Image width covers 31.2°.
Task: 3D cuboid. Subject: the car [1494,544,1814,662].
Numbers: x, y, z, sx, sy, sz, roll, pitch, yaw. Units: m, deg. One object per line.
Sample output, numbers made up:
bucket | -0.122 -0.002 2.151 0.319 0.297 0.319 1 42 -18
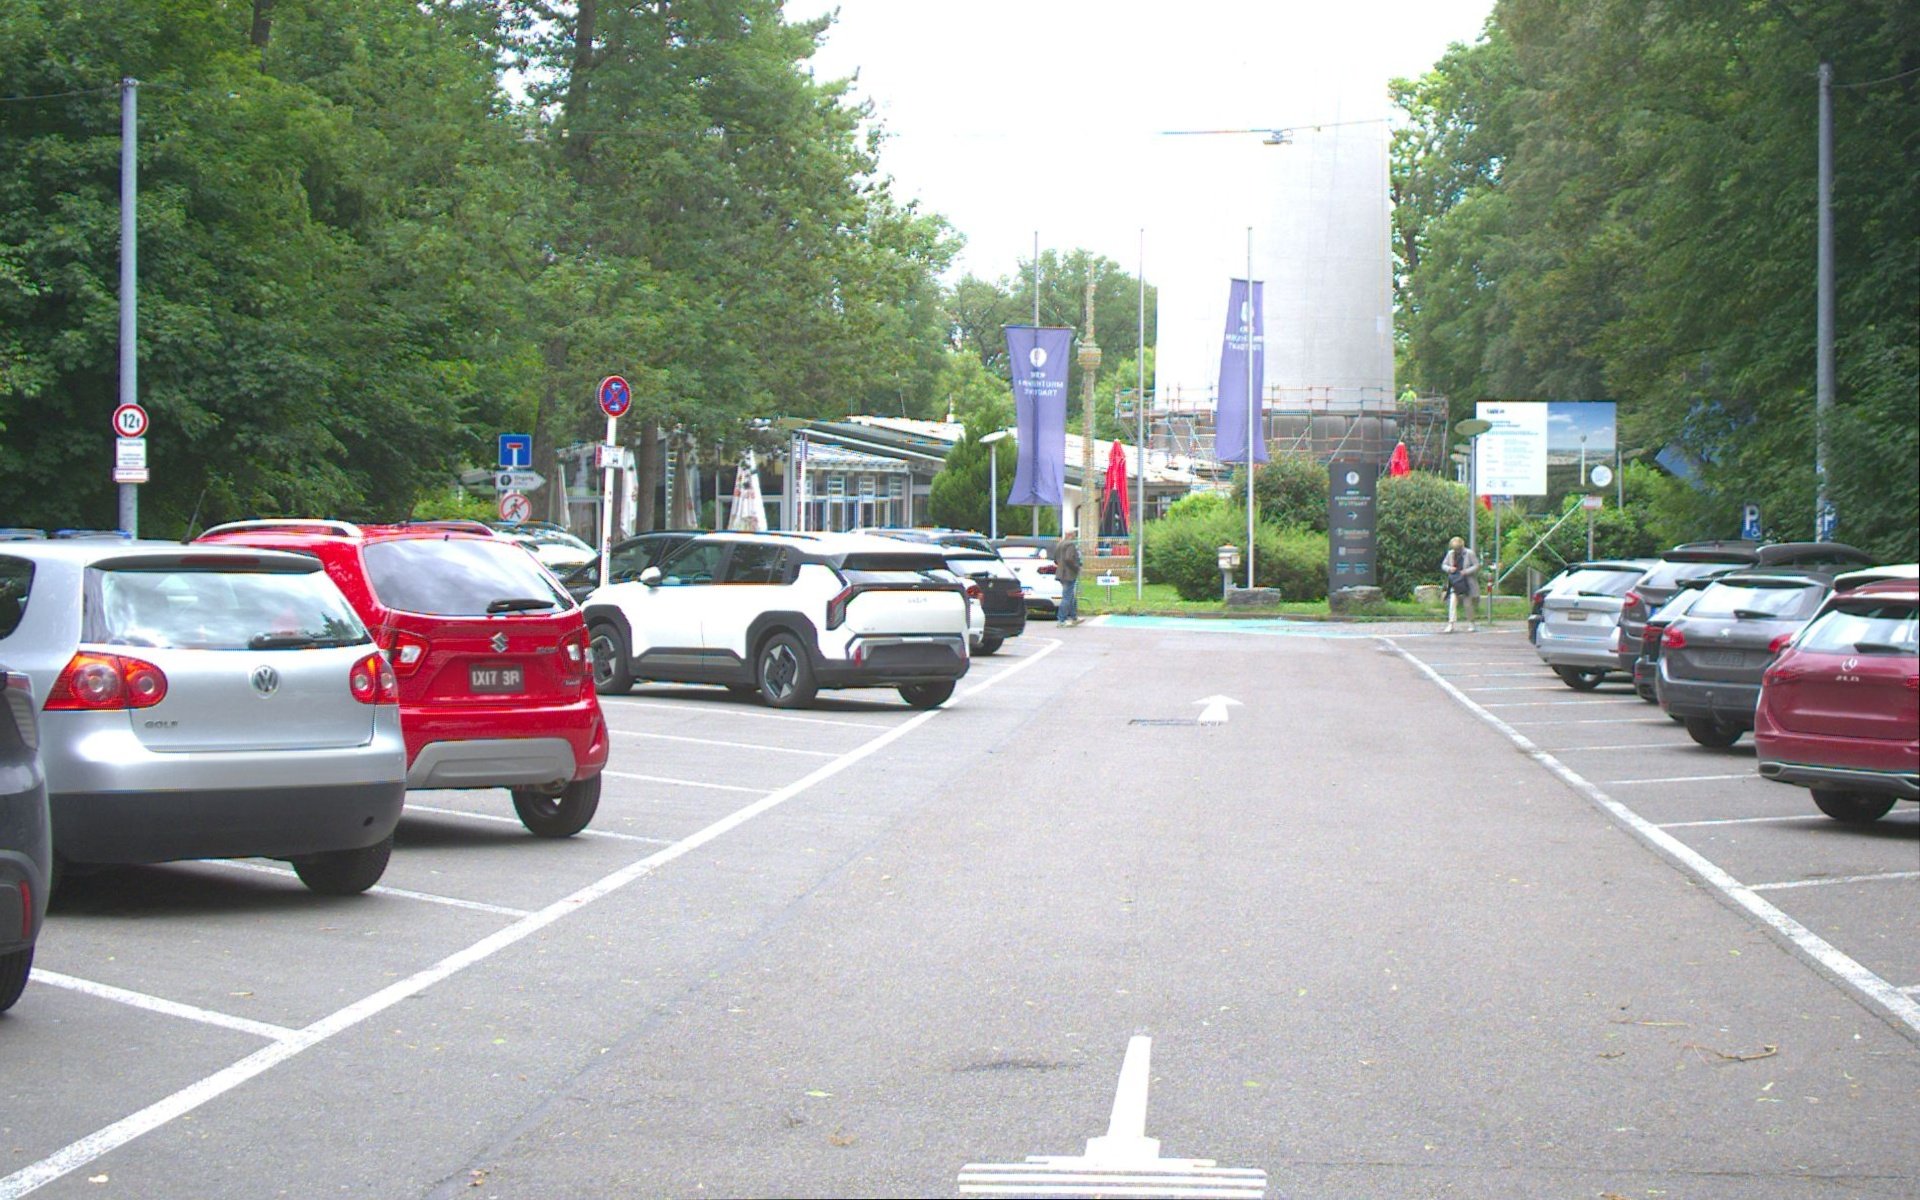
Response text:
car | 9.240 0.032 45.647 4.192 1.457 1.899 0 2 -39

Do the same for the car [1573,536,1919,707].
car | 8.481 0.194 35.359 4.250 1.631 1.965 0 1 -39

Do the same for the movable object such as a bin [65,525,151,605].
movable object such as a bin | -14.294 -0.594 57.696 1.253 1.320 1.147 1 1 -7

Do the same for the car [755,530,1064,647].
car | -0.728 -0.177 46.040 1.755 1.438 4.277 0 2 -41

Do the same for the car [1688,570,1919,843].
car | 6.443 0.579 19.913 4.283 1.409 1.928 1 1 -35

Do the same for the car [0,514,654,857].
car | -3.405 0.367 18.087 1.682 1.580 3.653 0 2 -42

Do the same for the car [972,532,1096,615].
car | 1.380 -0.507 62.825 1.893 1.423 3.999 1 1 6

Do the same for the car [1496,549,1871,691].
car | 8.078 0.191 38.294 3.987 1.462 1.835 0 2 -35

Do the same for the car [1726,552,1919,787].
car | 7.204 0.445 23.947 3.571 1.499 1.735 0 1 -37

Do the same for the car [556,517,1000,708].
car | -1.736 0.065 31.688 1.841 1.591 4.188 0 2 -42

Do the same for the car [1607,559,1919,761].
car | 7.217 0.434 27.277 4.174 1.452 1.804 0 1 -39

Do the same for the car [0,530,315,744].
car | -6.809 0.211 25.780 1.864 1.437 4.314 0 2 -42

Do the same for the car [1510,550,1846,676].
car | 8.759 0.148 41.830 3.988 1.417 1.909 0 2 -40

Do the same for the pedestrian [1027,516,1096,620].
pedestrian | 1.722 -0.543 58.211 0.894 1.719 0.764 1 1 -24

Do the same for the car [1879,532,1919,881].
car | 6.512 0.530 16.534 4.107 1.612 1.842 1 1 -36

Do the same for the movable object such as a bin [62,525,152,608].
movable object such as a bin | -13.754 -0.539 55.417 1.168 1.303 1.313 0 1 -24

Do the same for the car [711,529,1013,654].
car | -1.269 -0.124 43.056 1.767 1.438 3.845 0 1 -39

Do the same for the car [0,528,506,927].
car | -3.907 0.434 14.937 1.871 1.478 3.998 1 1 -42

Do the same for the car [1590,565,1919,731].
car | 7.875 0.401 31.339 4.250 1.373 1.965 0 2 -42

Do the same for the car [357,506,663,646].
car | -5.746 -0.323 43.615 1.893 1.657 3.998 0 1 -42

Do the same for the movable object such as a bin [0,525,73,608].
movable object such as a bin | -14.879 -0.541 55.006 1.123 1.310 1.185 0 1 -24

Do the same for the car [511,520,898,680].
car | -2.745 -0.037 36.402 3.997 1.549 1.868 2 2 44

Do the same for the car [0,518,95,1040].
car | -4.529 0.463 11.234 1.825 1.518 4.100 1 1 -37

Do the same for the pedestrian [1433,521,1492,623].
pedestrian | 8.600 -0.489 58.849 0.763 1.719 0.896 2 1 23
